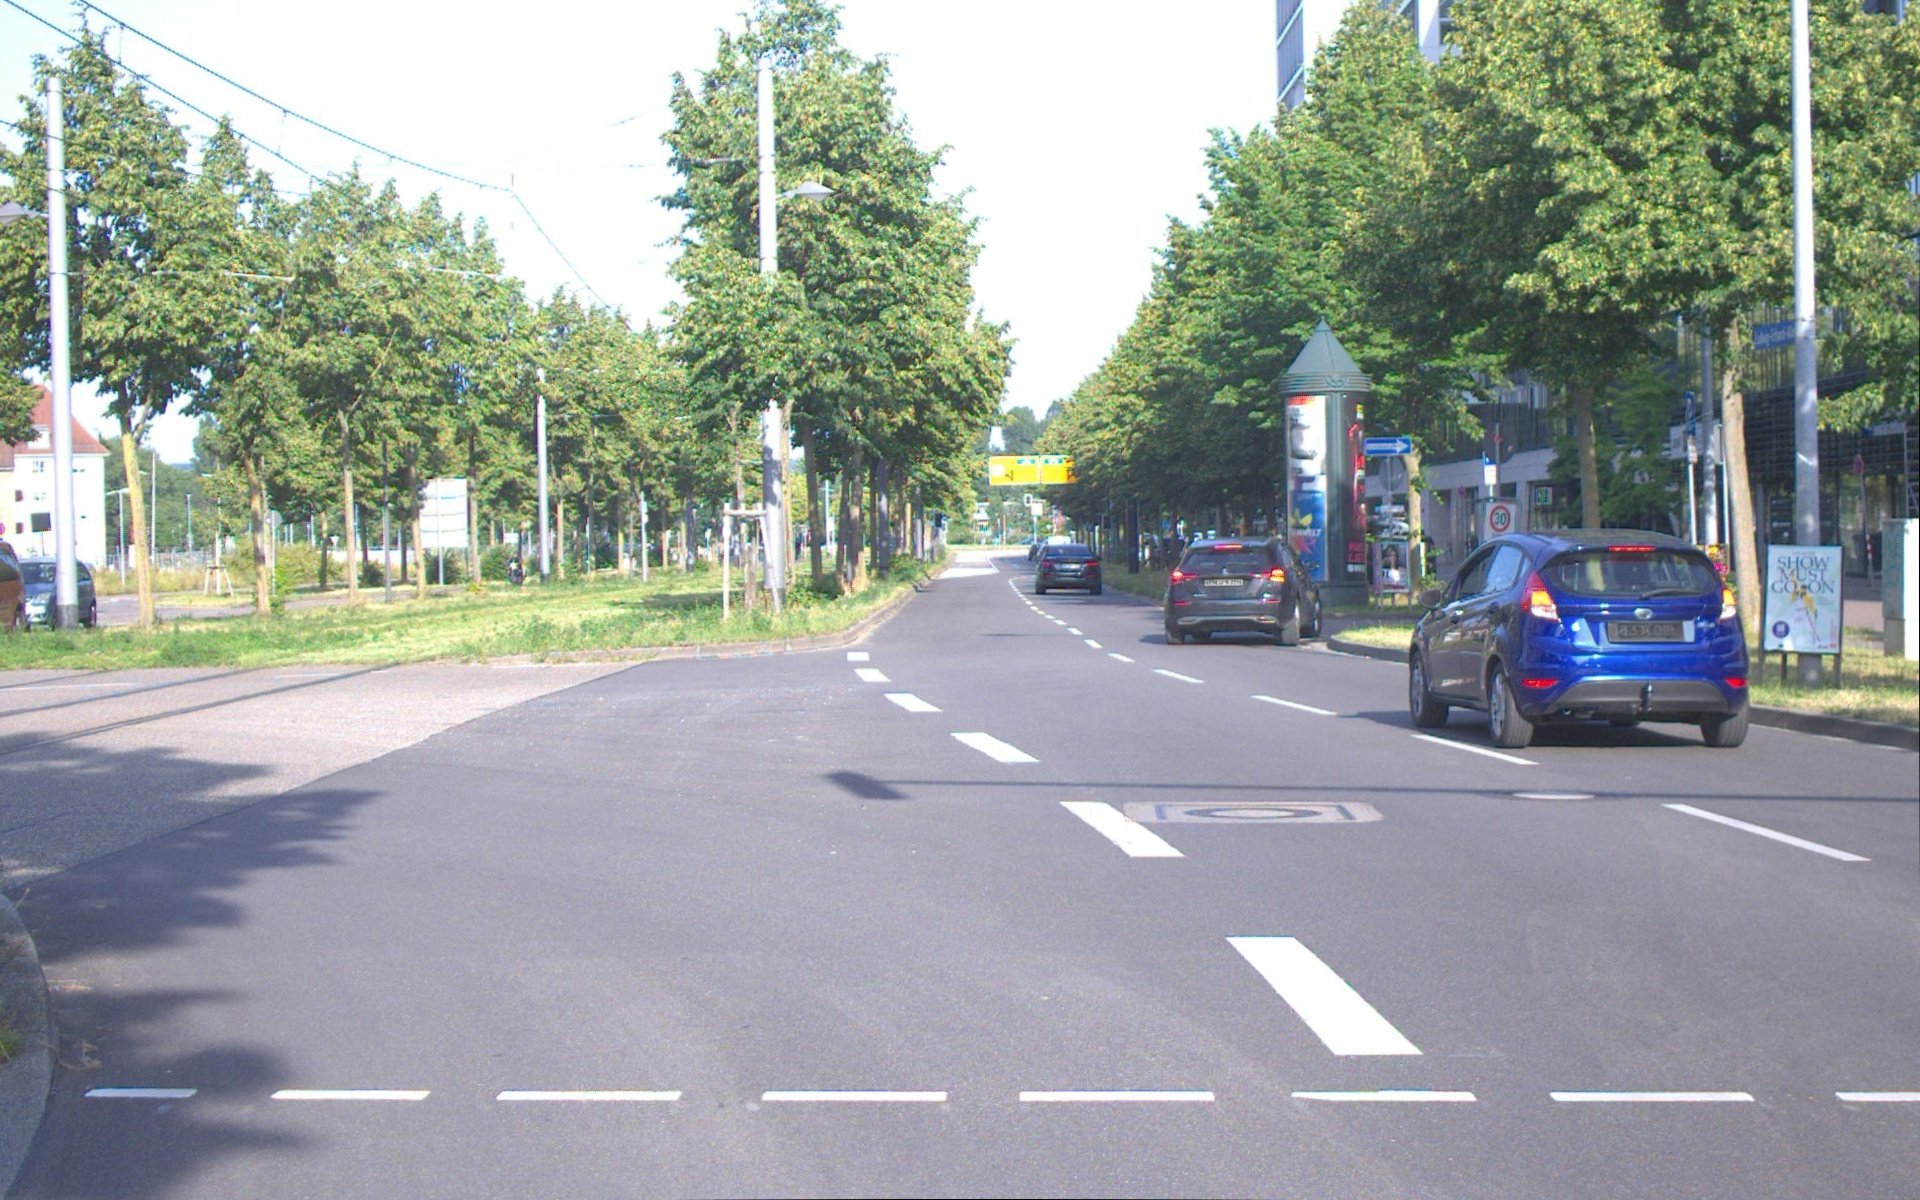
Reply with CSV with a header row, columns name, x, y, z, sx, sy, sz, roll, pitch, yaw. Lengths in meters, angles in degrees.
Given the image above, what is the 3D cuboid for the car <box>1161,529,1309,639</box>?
name,x,y,z,sx,sy,sz,roll,pitch,yaw
car,3.796,-0.233,46.945,1.775,1.419,3.960,1,1,8

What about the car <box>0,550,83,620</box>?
name,x,y,z,sx,sy,sz,roll,pitch,yaw
car,-20.100,-0.350,74.008,1.638,1.438,3.957,1,1,-3

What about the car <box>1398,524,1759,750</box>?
name,x,y,z,sx,sy,sz,roll,pitch,yaw
car,4.244,0.199,24.158,1.560,1.419,3.908,1,2,-4

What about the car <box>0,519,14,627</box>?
name,x,y,z,sx,sy,sz,roll,pitch,yaw
car,-16.526,-0.439,55.362,1.684,1.769,3.883,1,1,-3

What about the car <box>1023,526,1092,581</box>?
name,x,y,z,sx,sy,sz,roll,pitch,yaw
car,2.757,-1.329,97.604,1.860,1.519,3.785,1,1,1

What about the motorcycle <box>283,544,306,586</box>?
name,x,y,z,sx,sy,sz,roll,pitch,yaw
motorcycle,-24.906,-1.315,128.653,0.473,1.525,1.993,1,1,-1

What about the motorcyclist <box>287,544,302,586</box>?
name,x,y,z,sx,sy,sz,roll,pitch,yaw
motorcyclist,-24.903,-1.325,128.664,0.485,1.559,0.455,1,1,-1
